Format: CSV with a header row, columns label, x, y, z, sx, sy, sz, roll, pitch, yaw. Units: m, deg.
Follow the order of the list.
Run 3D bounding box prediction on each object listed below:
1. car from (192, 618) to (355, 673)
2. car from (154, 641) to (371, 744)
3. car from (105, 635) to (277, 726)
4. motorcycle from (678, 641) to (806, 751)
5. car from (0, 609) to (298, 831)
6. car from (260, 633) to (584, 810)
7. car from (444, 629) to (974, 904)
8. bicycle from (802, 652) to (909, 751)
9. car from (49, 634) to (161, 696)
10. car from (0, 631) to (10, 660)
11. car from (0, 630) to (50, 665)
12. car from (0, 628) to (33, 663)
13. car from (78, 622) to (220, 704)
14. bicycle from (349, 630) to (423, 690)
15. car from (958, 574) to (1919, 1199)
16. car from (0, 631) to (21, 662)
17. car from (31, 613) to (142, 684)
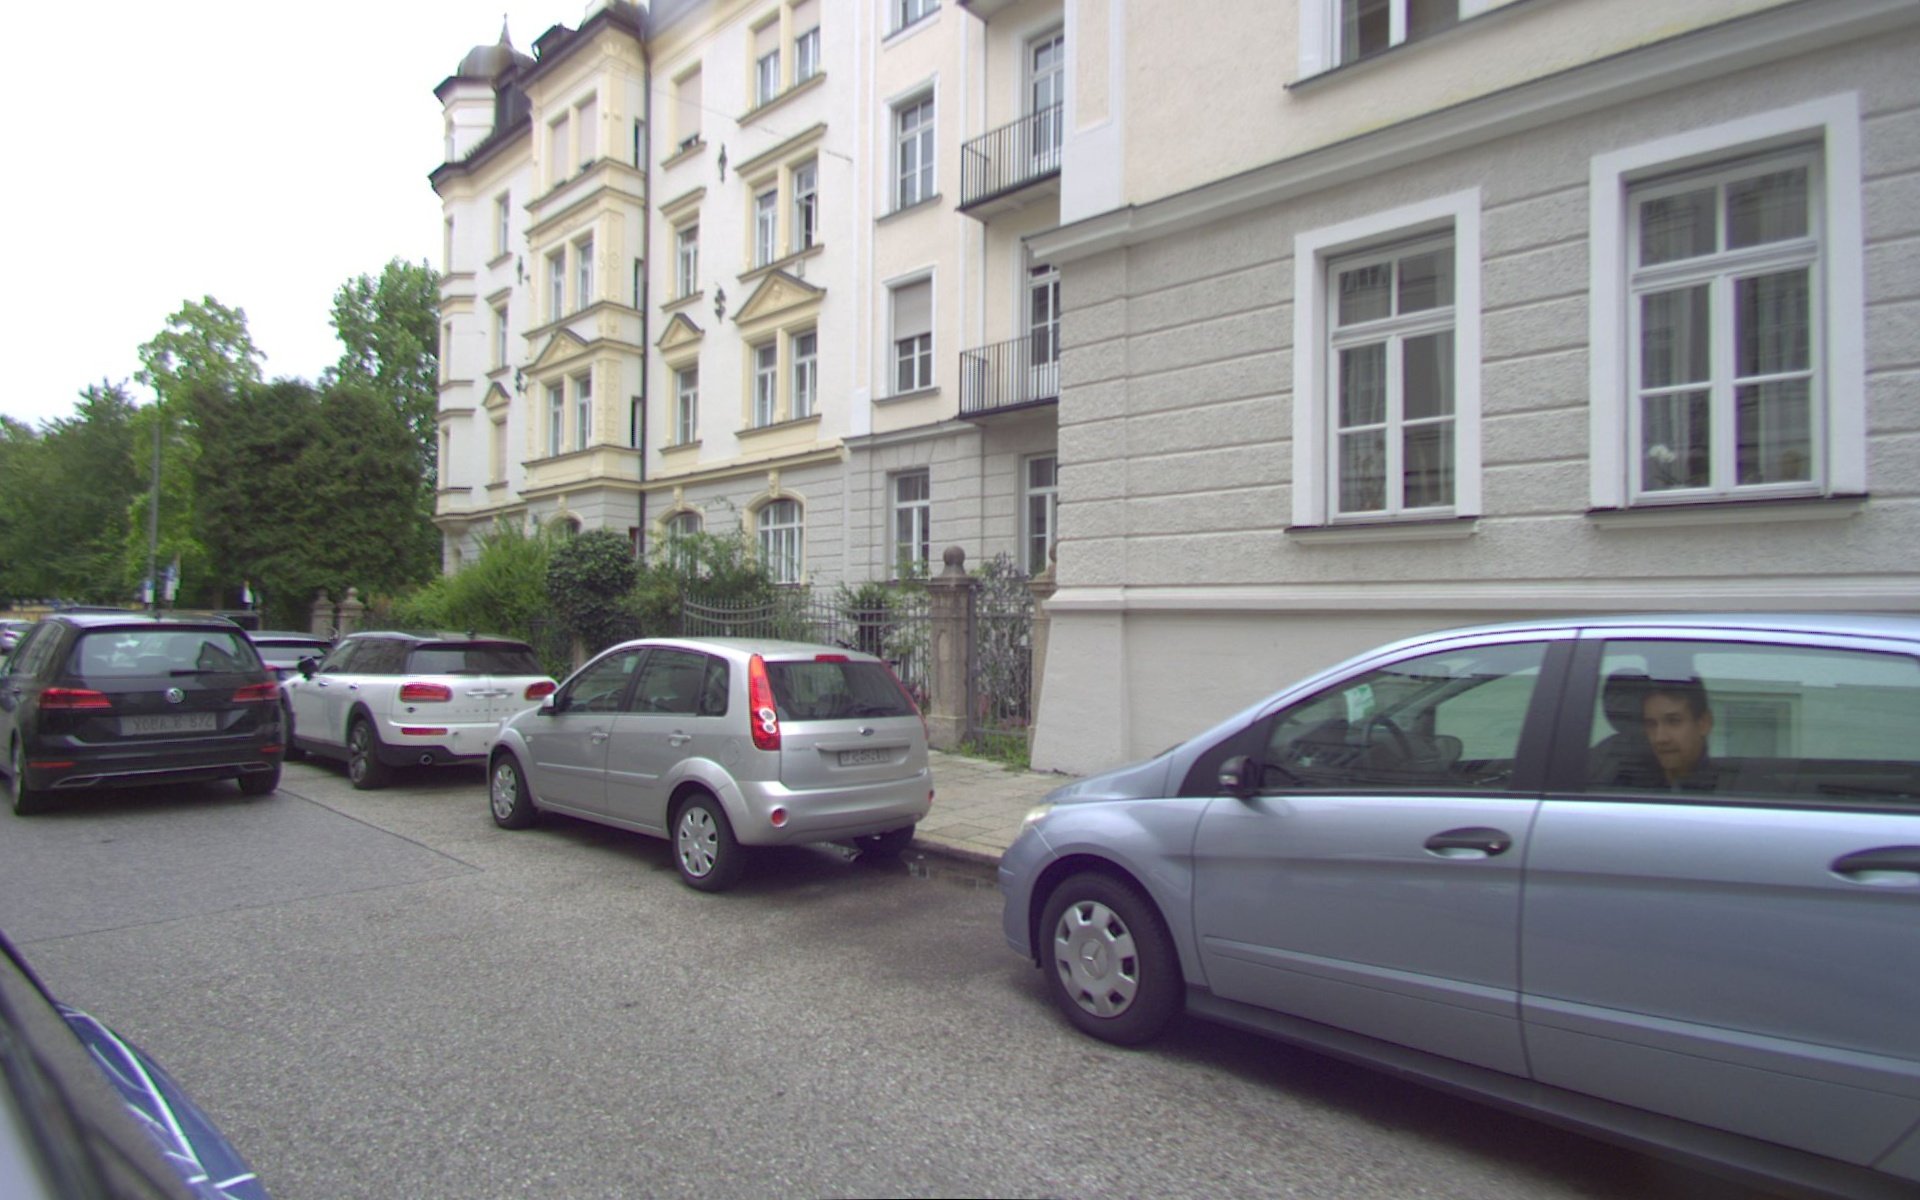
label,x,y,z,sx,sy,sz,roll,pitch,yaw
car,-24.907,1.643,36.863,2.051,1.872,4.466,-1,-2,36
car,-10.883,1.348,15.689,4.190,1.375,1.717,-2,-4,41
car,-14.420,1.418,18.897,3.998,1.431,1.750,0,-2,41
motorcycle,-2.846,1.199,13.111,1.821,1.259,0.697,0,0,42
car,-7.568,0.918,9.071,4.084,1.545,1.706,-2,-4,42
car,-5.768,1.092,10.629,4.080,1.446,1.777,-1,-2,43
car,-1.955,0.947,7.198,3.998,1.414,1.627,-1,-4,41
bicycle,-1.276,1.190,12.163,1.420,1.069,0.426,-2,1,44
car,-22.073,1.647,26.088,3.918,1.441,1.625,-1,-5,42
car,-53.507,2.483,55.492,3.929,1.573,1.632,-2,-4,42
car,-42.117,2.104,45.201,3.954,1.504,1.682,-2,-4,42
car,-45.886,2.167,48.558,3.929,1.572,1.682,-2,0,42
car,-18.273,1.370,22.730,4.485,1.661,1.786,-2,-4,43
bicycle,-13.108,1.348,23.075,2.531,1.307,0.747,-2,-4,44
car,2.047,0.812,3.248,4.062,1.593,1.677,-2,-5,44
car,-49.750,2.386,52.084,3.929,1.573,1.632,-2,-4,42
car,-25.576,1.370,29.582,4.817,1.901,1.891,-1,-3,43
